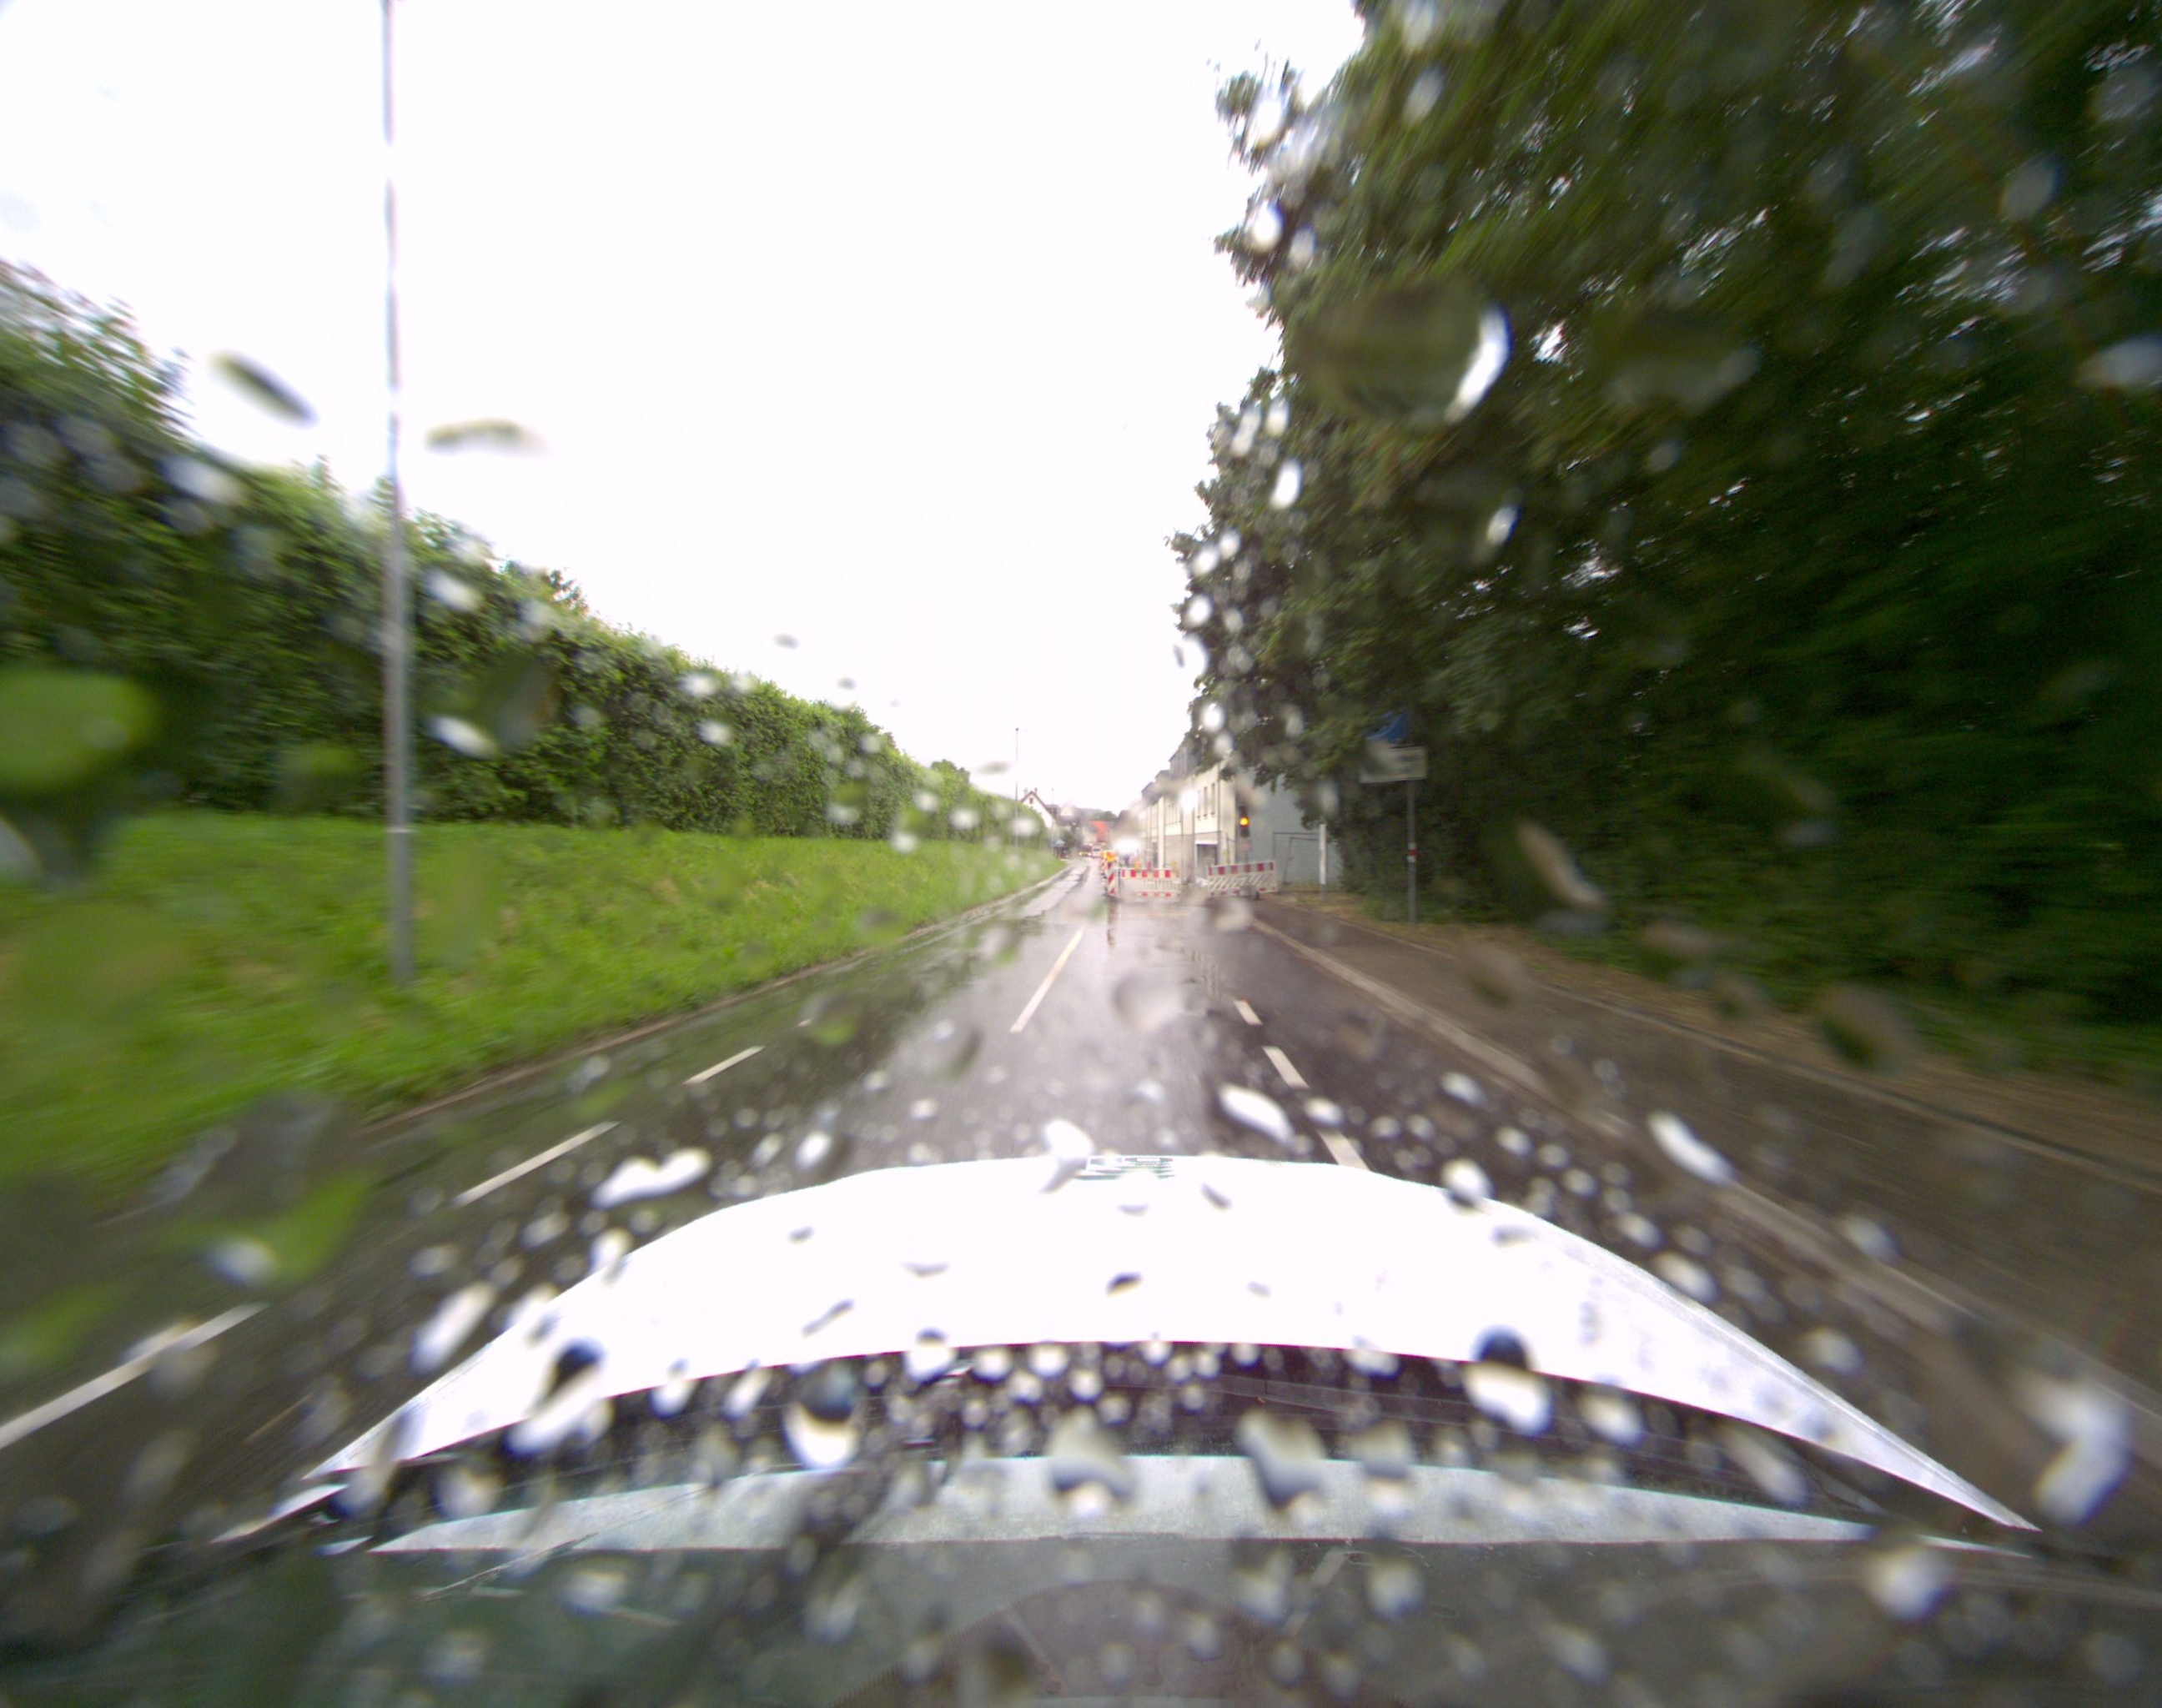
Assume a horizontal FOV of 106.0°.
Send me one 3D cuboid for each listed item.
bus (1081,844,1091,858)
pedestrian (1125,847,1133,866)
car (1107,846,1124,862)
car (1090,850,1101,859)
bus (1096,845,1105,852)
[{"bbox_3d":[1.167,-0.683,190.994,2.234,3.102,7.031,-3,0,1],"label":"bus"},{"bbox_3d":[4.414,0.251,74.810,0.663,1.755,0.812,0,0,1],"label":"pedestrian"},{"bbox_3d":[4.171,0.023,100.183,1.897,1.772,3.887,-3,0,1],"label":"car"},{"bbox_3d":[2.773,0.087,155.720,1.812,1.642,4.096,-3,0,1],"label":"car"},{"bbox_3d":[4.344,-1.230,177.866,1.786,1.409,4.004,1,0,3],"label":"bus"}]
